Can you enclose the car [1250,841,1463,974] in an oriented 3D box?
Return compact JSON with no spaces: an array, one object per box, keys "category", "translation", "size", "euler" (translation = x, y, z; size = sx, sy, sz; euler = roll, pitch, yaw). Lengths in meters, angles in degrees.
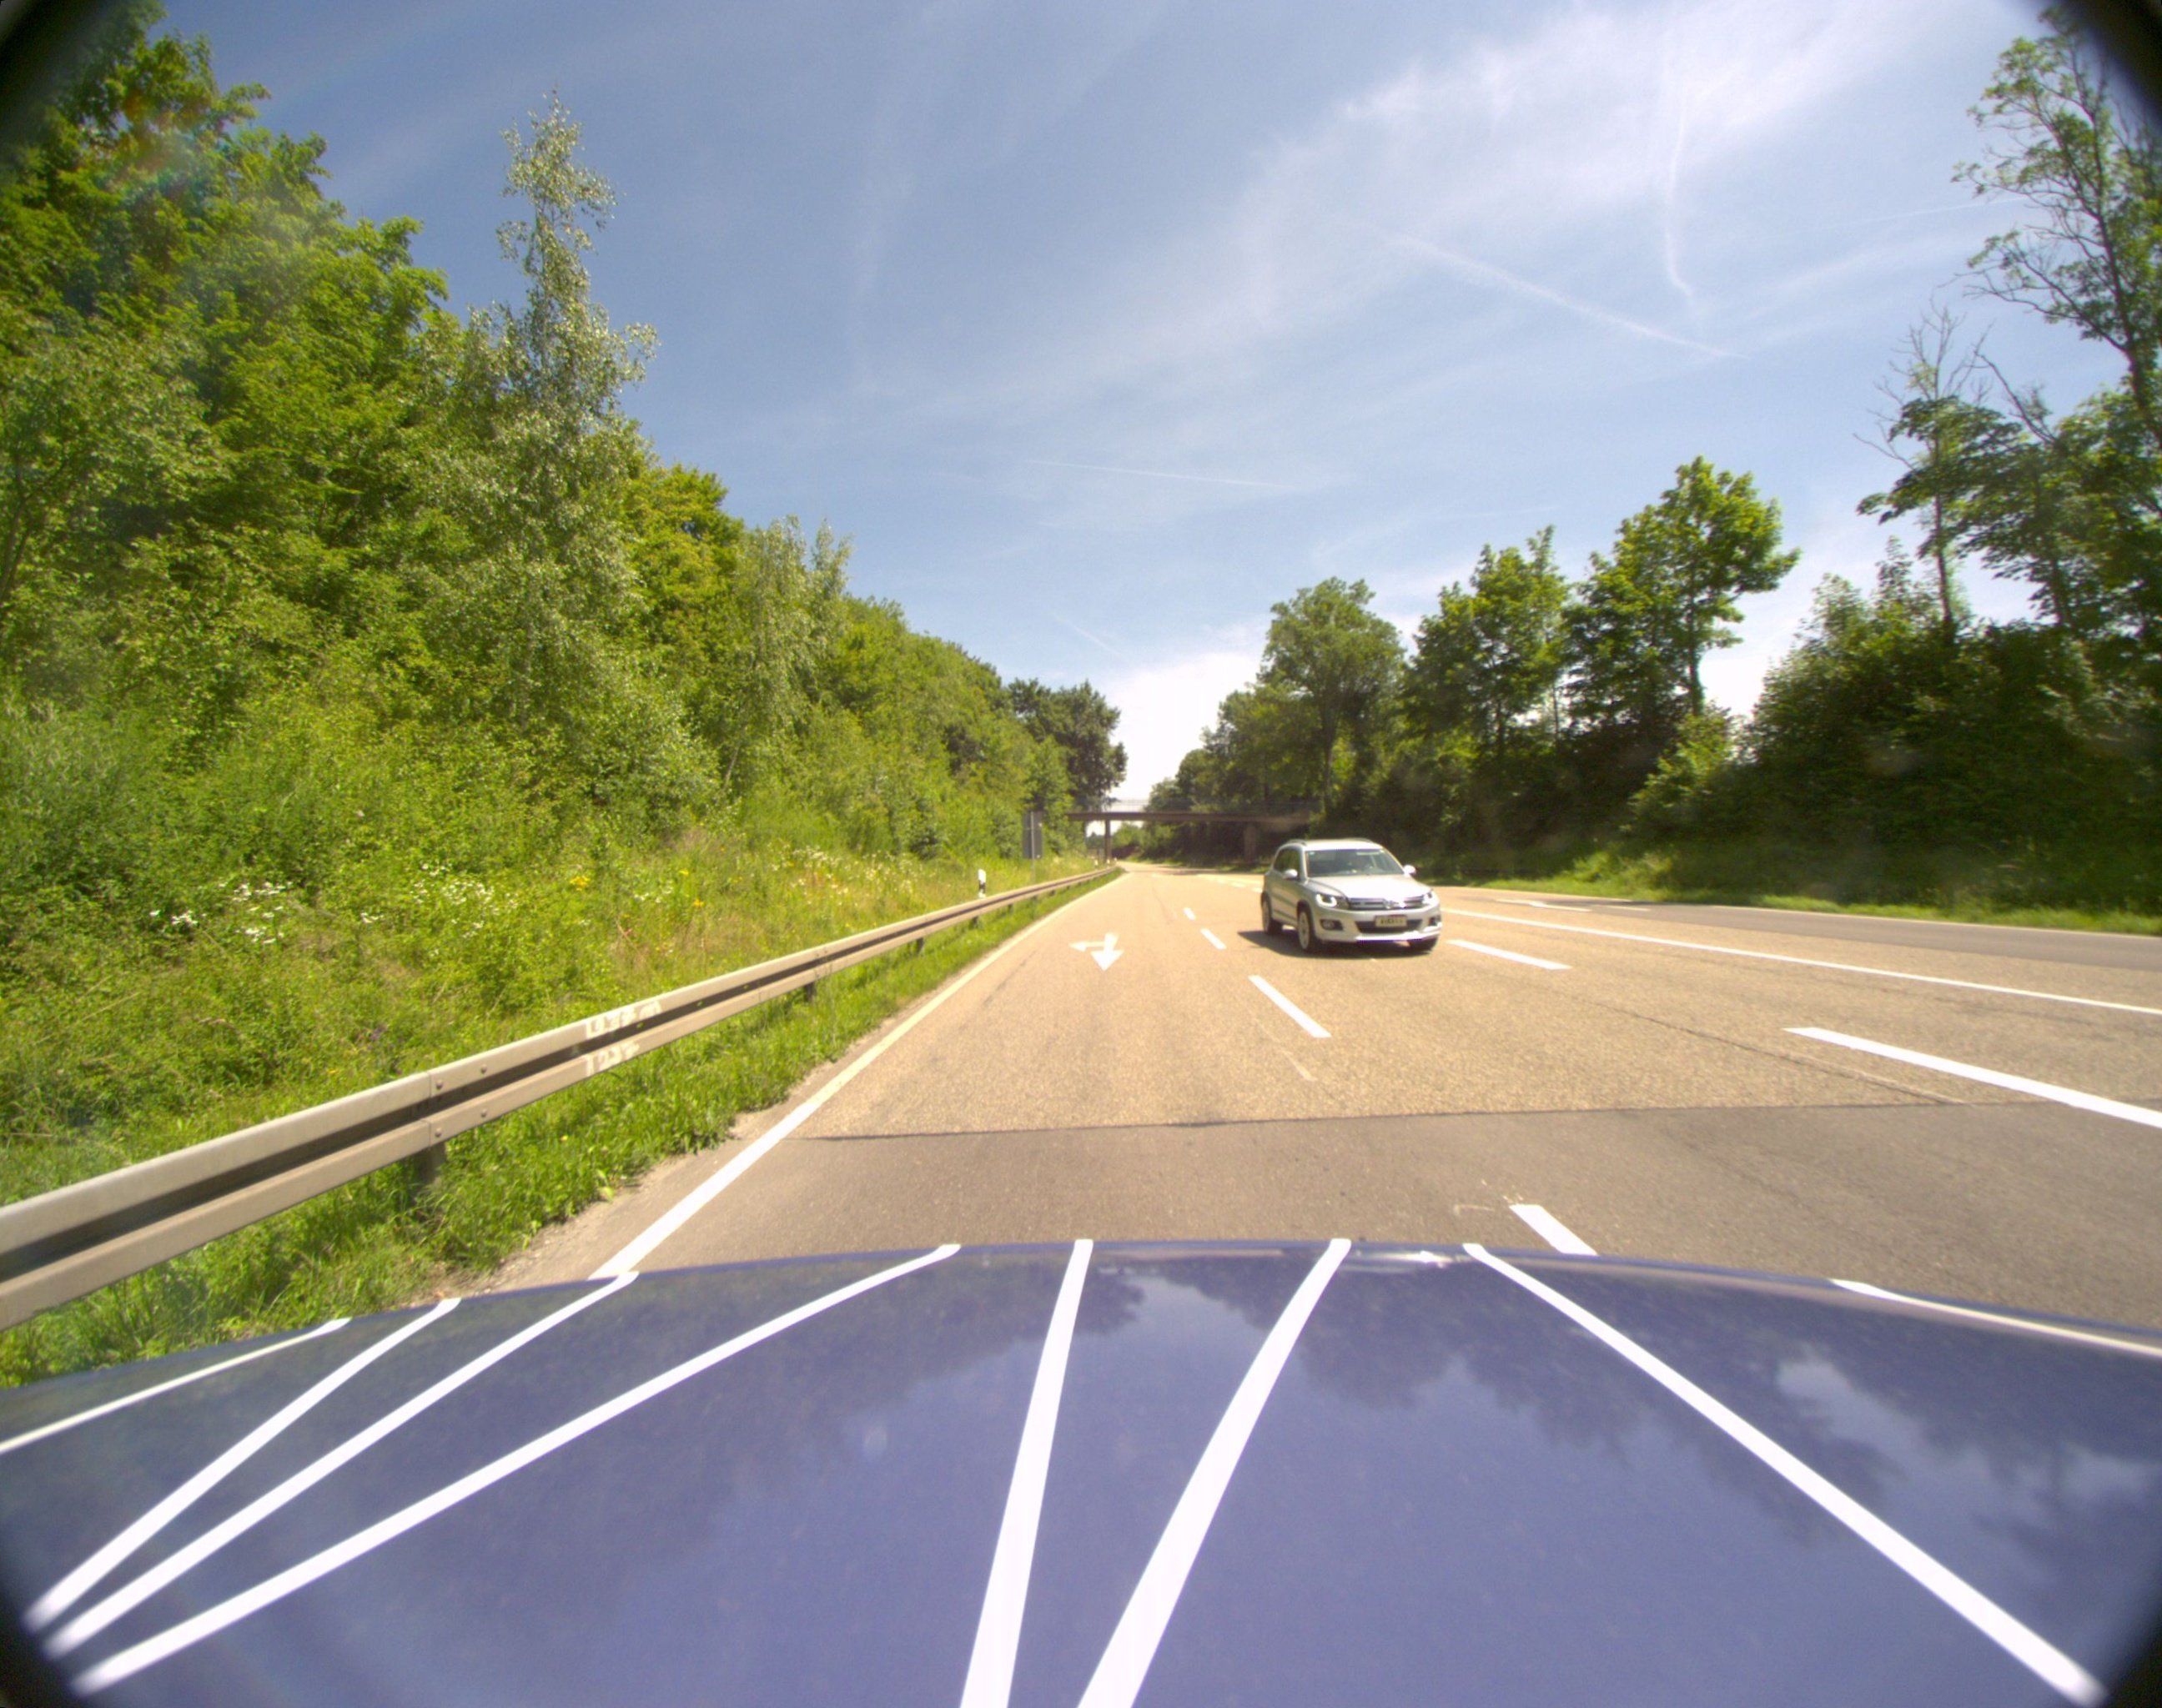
[{"category":"car","translation":[4.076,0.708,12.078],"size":[1.809,1.660,4.292],"euler":[-3,0,1]}]
